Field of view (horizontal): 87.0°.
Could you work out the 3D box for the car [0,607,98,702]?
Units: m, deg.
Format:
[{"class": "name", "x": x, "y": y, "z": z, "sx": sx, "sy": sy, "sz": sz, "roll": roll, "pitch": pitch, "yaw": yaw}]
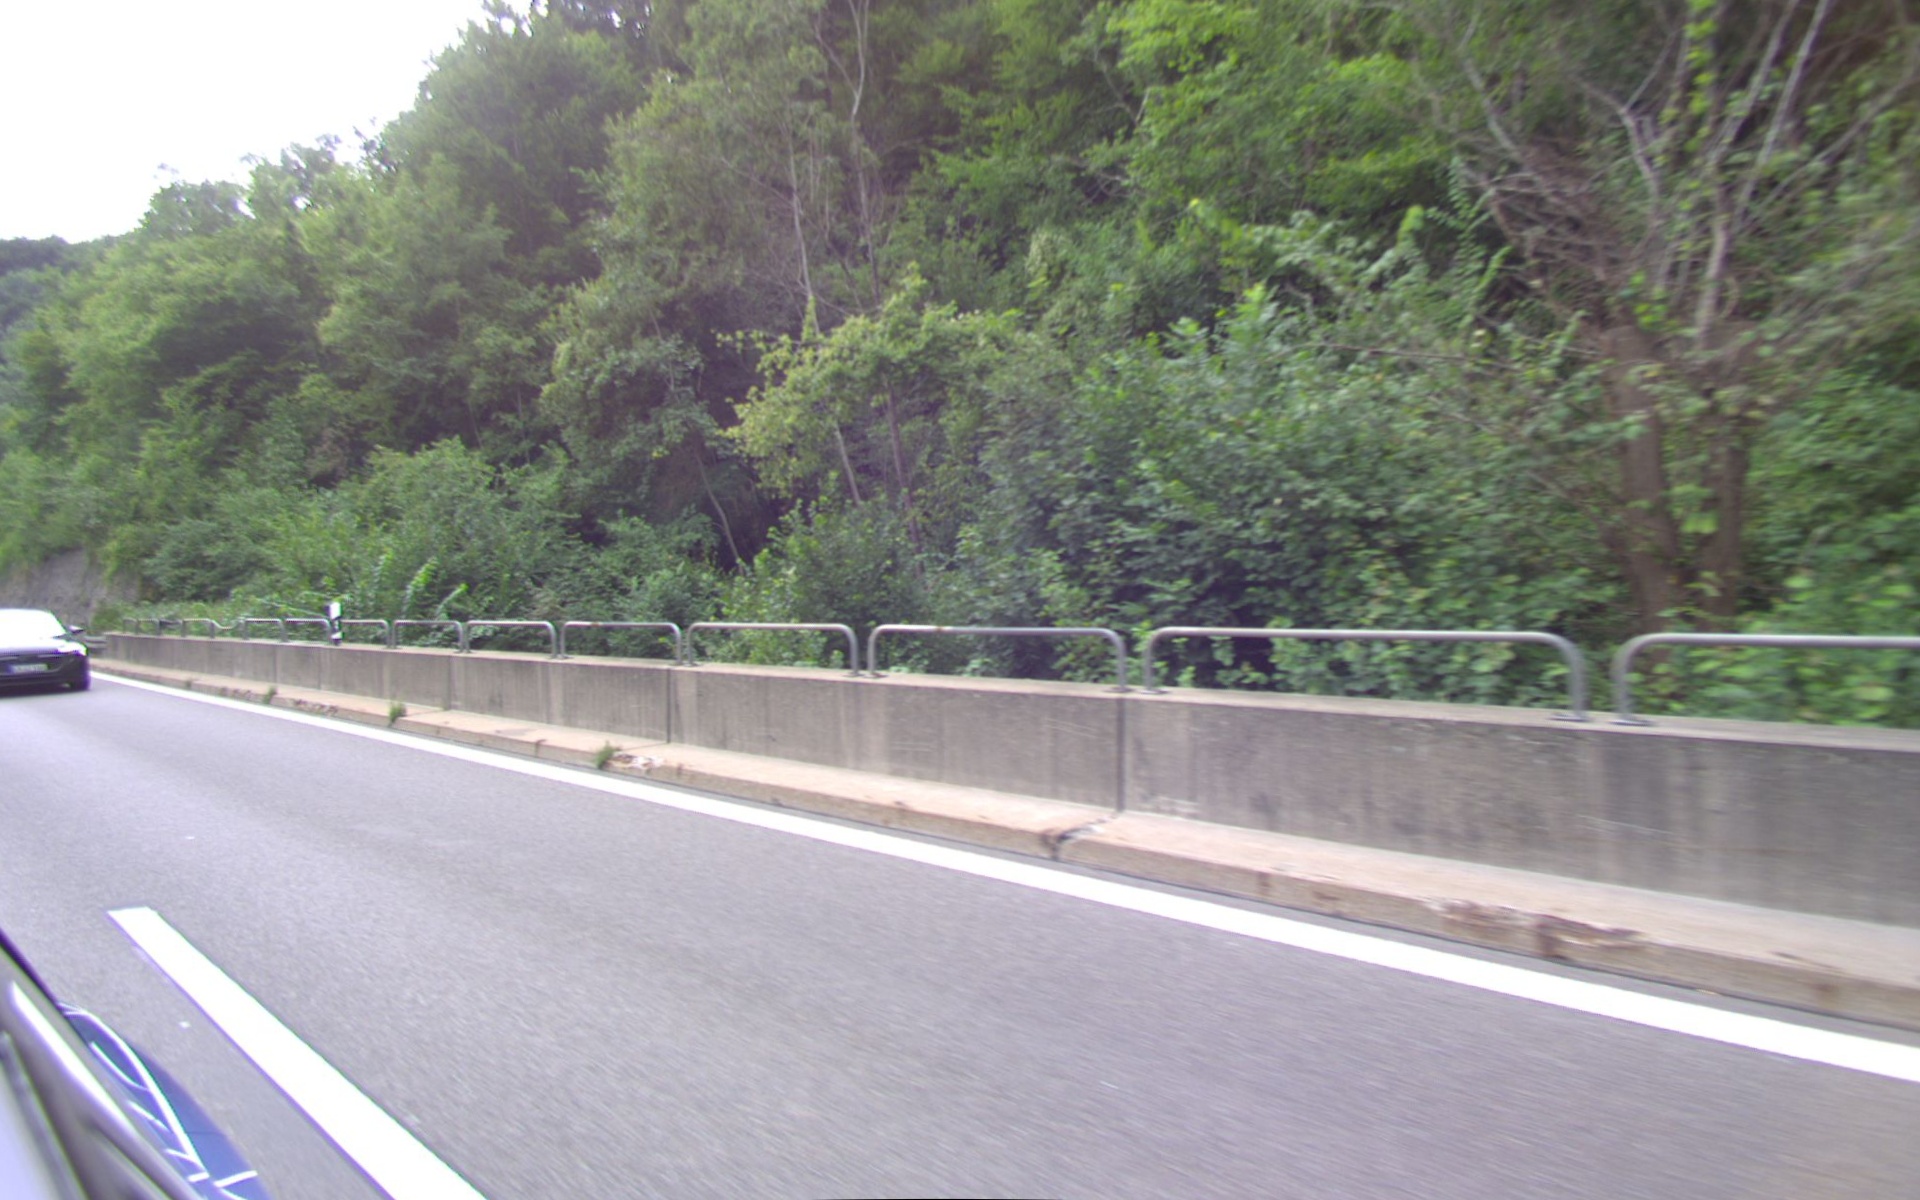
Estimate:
[{"class": "car", "x": -18.812, "y": 1.022, "z": 20.000, "sx": 5.006, "sy": 1.644, "sz": 1.973, "roll": -1, "pitch": 1, "yaw": 41}]
